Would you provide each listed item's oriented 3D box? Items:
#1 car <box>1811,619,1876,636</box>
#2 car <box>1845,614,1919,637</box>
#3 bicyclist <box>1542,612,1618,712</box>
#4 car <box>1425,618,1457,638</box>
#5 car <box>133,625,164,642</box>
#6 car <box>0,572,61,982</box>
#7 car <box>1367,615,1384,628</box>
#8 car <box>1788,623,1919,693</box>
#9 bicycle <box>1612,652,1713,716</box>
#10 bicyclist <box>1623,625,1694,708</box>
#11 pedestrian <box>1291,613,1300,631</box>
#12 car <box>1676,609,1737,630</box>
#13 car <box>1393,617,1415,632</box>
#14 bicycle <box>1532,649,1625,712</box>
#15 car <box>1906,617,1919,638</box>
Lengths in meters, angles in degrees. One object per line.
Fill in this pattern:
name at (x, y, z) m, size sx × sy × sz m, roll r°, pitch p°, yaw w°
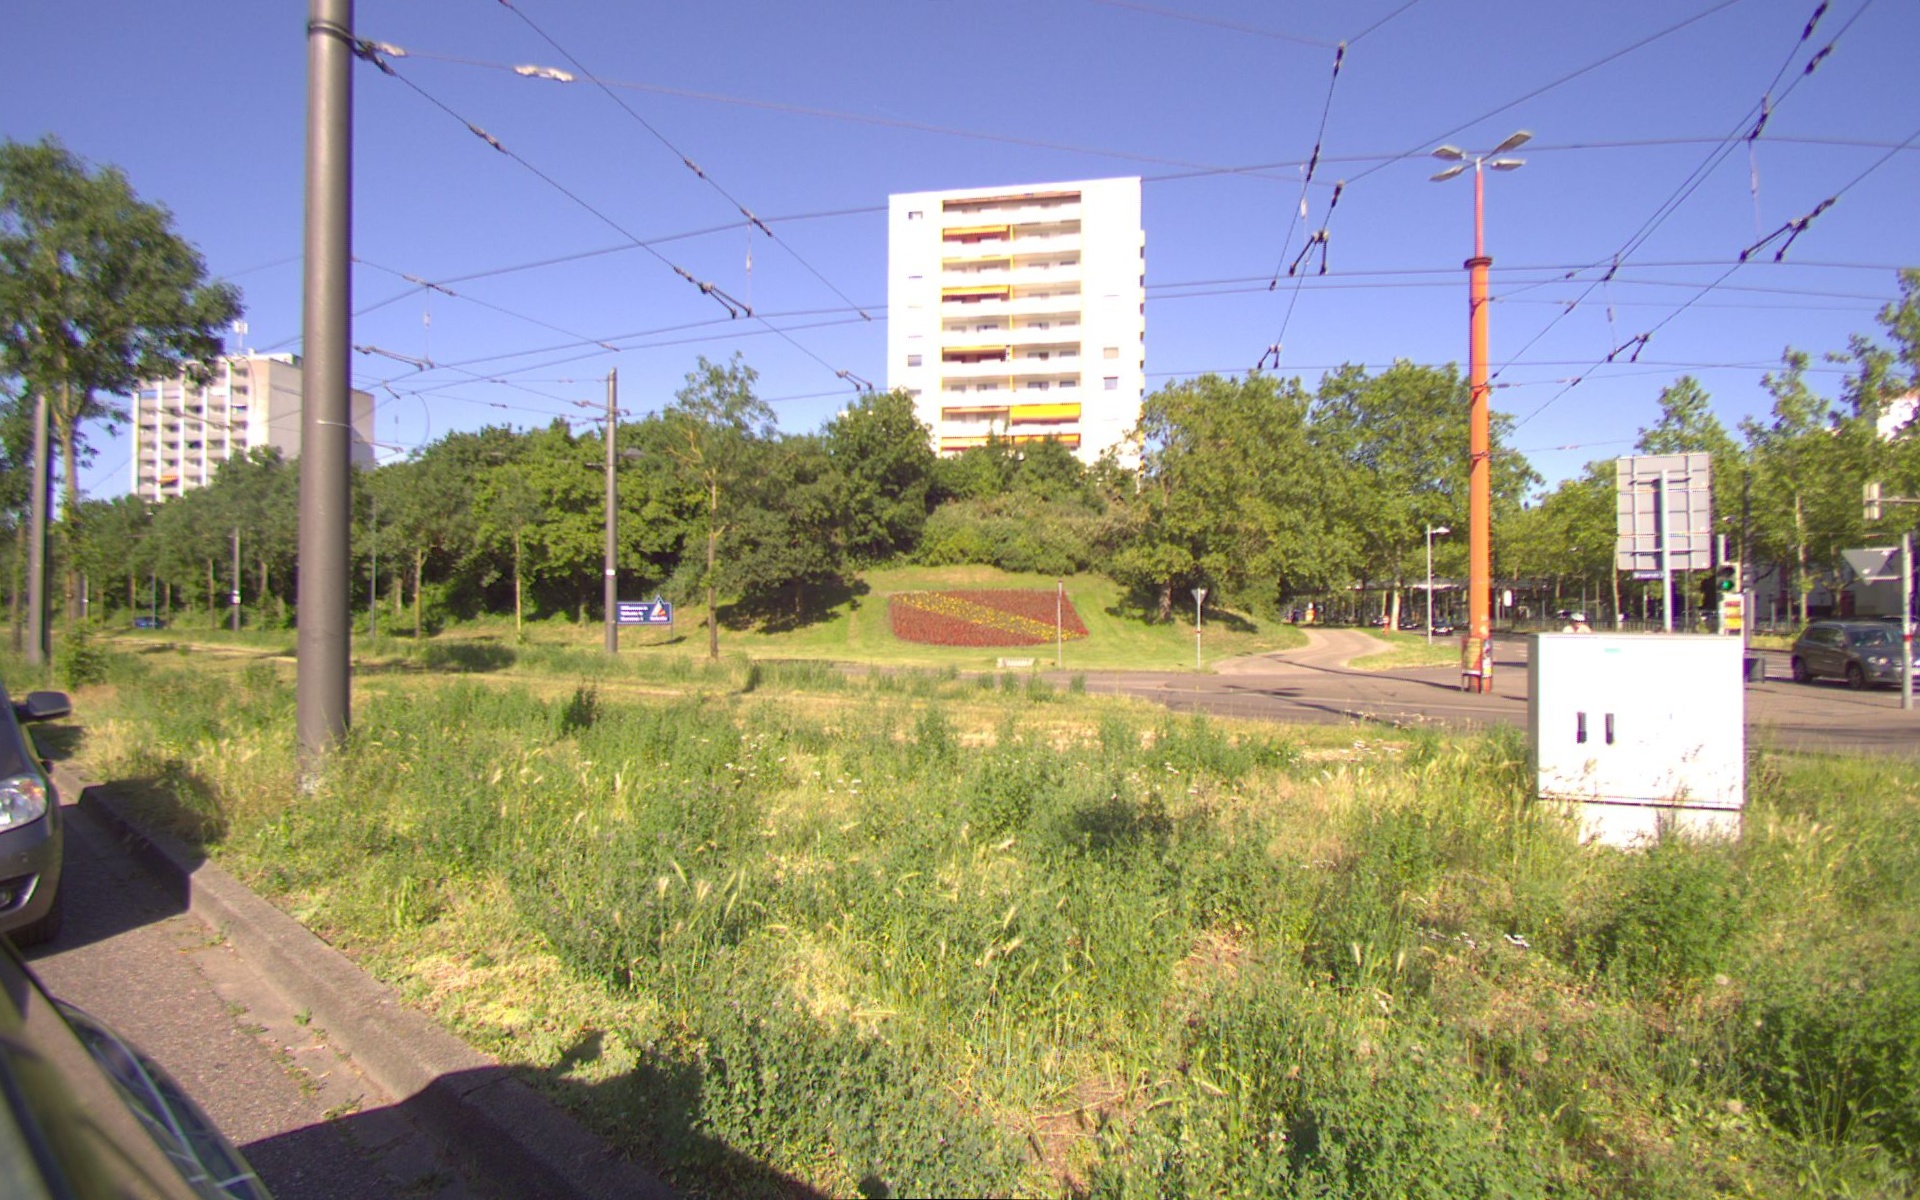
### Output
car at (64.416, 1.981, 73.839) m, size 1.425 × 1.197 × 3.423 m, roll -1°, pitch 0°, yaw -41°
car at (63.812, 1.735, 69.988) m, size 1.589 × 1.471 × 3.656 m, roll -1°, pitch 0°, yaw -38°
bicyclist at (12.119, 1.190, 19.819) m, size 0.880 × 1.881 × 0.924 m, roll -1°, pitch 0°, yaw -2°
car at (37.490, 2.191, 78.960) m, size 1.905 × 1.507 × 3.971 m, roll -1°, pitch -1°, yaw 21°
car at (-72.715, 2.980, 90.634) m, size 3.908 × 1.431 × 1.557 m, roll -2°, pitch -1°, yaw 42°
car at (-5.817, 0.753, 4.886) m, size 3.998 × 1.652 × 1.726 m, roll -1°, pitch 0°, yaw 41°
car at (53.272, 2.739, 129.892) m, size 1.833 × 1.507 × 3.973 m, roll -1°, pitch 0°, yaw 20°
car at (23.024, 1.389, 25.412) m, size 1.900 × 1.507 × 4.026 m, roll -1°, pitch 0°, yaw 15°
bicycle at (13.512, 1.594, 19.532) m, size 0.571 × 1.079 × 1.916 m, roll -1°, pitch 0°, yaw 0°
bicyclist at (13.499, 1.264, 19.582) m, size 0.710 × 1.536 × 0.924 m, roll -1°, pitch 0°, yaw 0°
pedestrian at (28.468, 1.887, 85.931) m, size 0.681 × 1.568 × 0.984 m, roll -1°, pitch -2°, yaw 20°
car at (72.154, 1.931, 97.865) m, size 1.909 × 1.999 × 4.350 m, roll 1°, pitch -2°, yaw -38°
car at (47.560, 2.642, 108.390) m, size 1.904 × 1.507 × 3.973 m, roll -1°, pitch 0°, yaw 20°
bicycle at (12.077, 1.546, 19.835) m, size 0.571 × 1.079 × 1.917 m, roll -1°, pitch 0°, yaw -2°
car at (63.696, 1.769, 65.155) m, size 1.472 × 1.341 × 3.746 m, roll -1°, pitch 0°, yaw -27°
